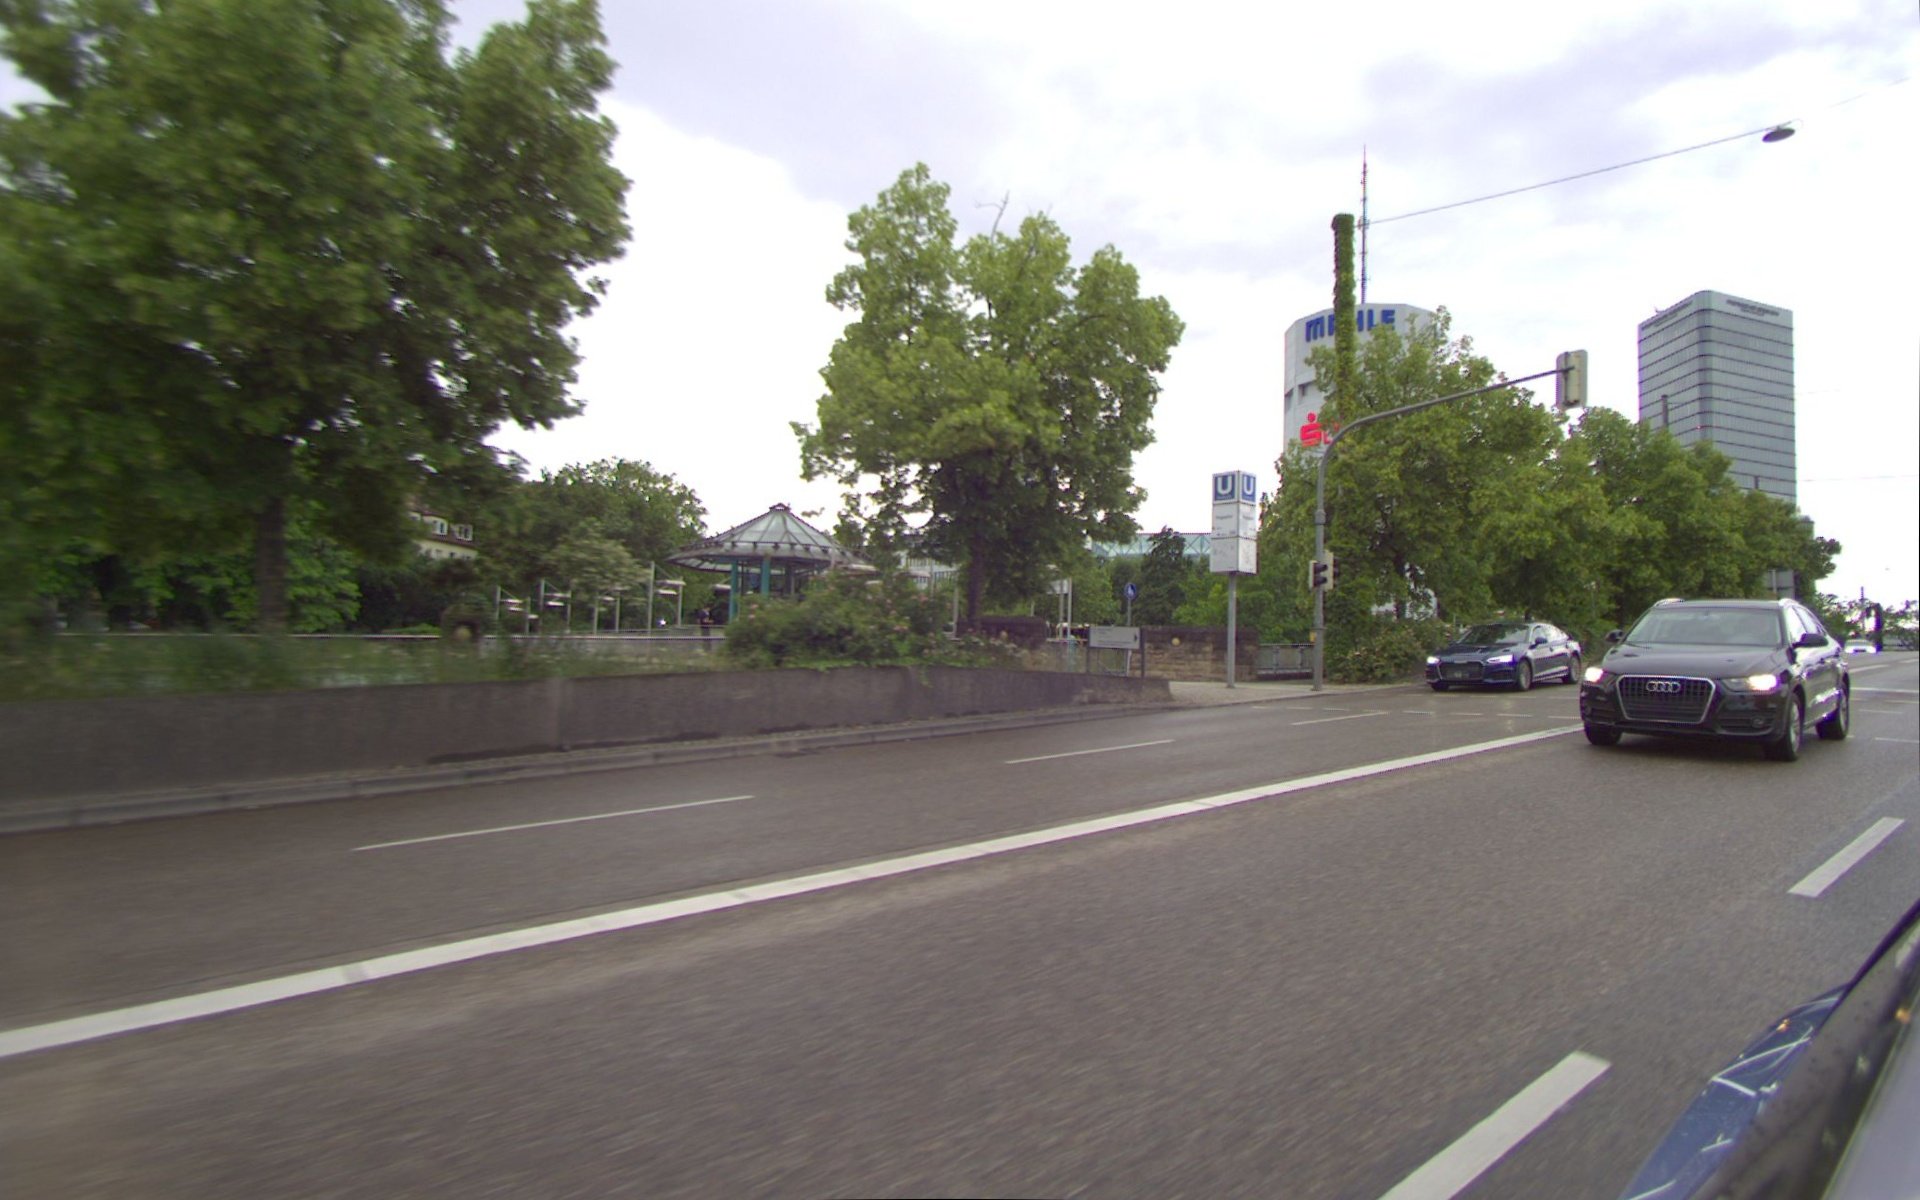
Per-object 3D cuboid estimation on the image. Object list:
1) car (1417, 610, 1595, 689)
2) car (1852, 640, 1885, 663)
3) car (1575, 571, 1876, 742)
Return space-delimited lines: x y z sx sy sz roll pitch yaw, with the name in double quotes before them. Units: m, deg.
"car" 11.572 0.979 21.342 4.272 1.444 1.874 -1 -1 -41
"car" 65.766 3.736 73.302 1.629 1.495 3.622 -1 -4 40
"car" 8.525 0.562 11.159 4.052 1.554 1.729 1 -2 -39
